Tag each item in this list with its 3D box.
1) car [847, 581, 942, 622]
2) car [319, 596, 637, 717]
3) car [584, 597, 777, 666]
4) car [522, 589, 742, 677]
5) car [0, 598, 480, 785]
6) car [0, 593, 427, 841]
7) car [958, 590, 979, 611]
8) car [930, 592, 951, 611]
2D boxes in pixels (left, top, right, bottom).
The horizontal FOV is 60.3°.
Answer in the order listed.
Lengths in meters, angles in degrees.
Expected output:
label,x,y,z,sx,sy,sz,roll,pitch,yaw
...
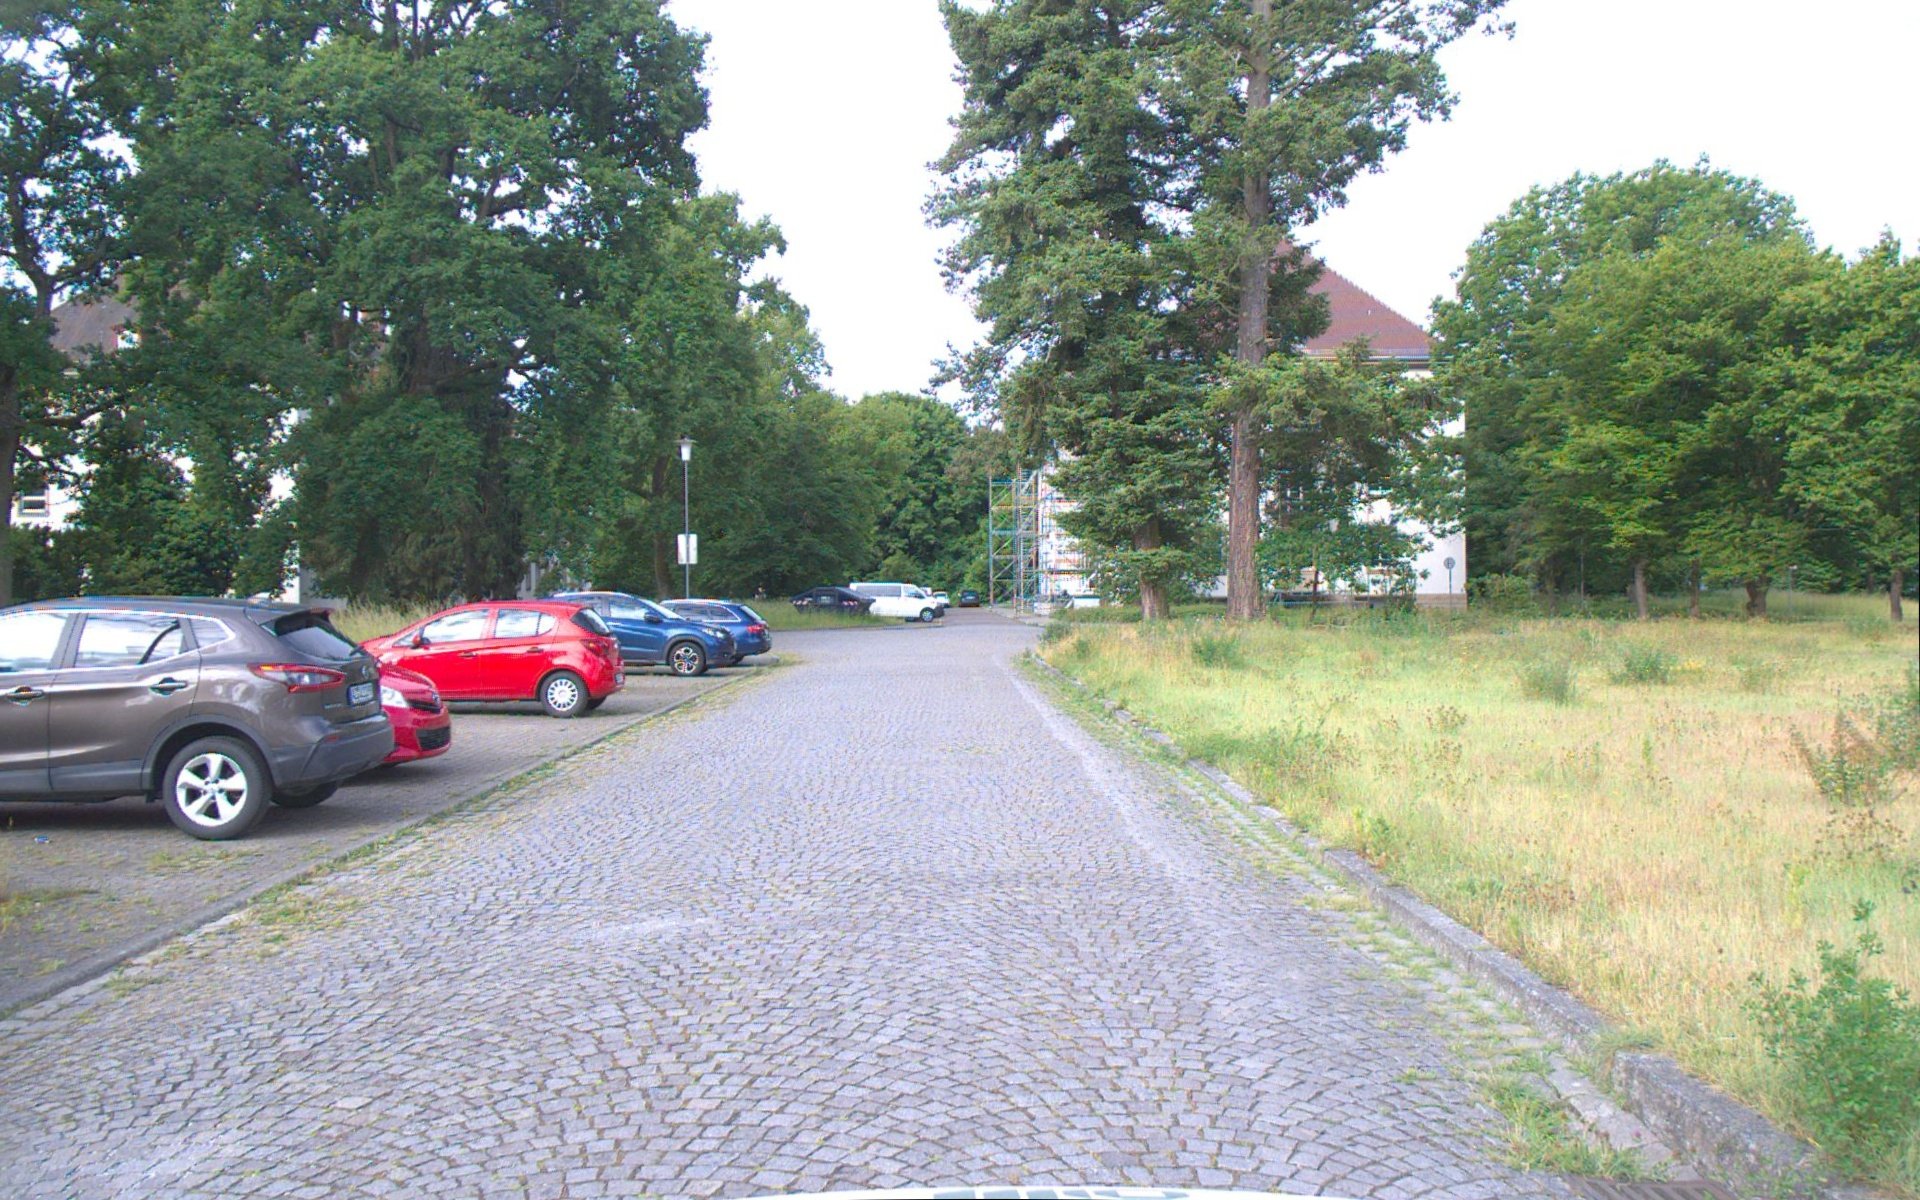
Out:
label,x,y,z,sx,sy,sz,roll,pitch,yaw
car,-3.378,0.087,86.102,4.878,2.109,2.051,0,-1,-2
car,-6.353,0.727,22.119,3.739,1.515,1.787,0,0,-2
car,-6.227,0.683,37.069,3.986,1.493,1.626,0,0,2
car,-6.352,0.618,32.369,3.990,1.632,1.787,0,0,-3
car,-6.361,0.759,14.591,3.738,1.512,1.761,0,0,-1
car,-6.113,0.764,11.808,3.986,1.602,1.954,0,0,-2
car,0.752,0.057,152.551,1.754,1.750,4.059,-1,-1,-2
car,-1.813,0.137,152.178,1.754,1.665,4.059,-1,-1,-2
